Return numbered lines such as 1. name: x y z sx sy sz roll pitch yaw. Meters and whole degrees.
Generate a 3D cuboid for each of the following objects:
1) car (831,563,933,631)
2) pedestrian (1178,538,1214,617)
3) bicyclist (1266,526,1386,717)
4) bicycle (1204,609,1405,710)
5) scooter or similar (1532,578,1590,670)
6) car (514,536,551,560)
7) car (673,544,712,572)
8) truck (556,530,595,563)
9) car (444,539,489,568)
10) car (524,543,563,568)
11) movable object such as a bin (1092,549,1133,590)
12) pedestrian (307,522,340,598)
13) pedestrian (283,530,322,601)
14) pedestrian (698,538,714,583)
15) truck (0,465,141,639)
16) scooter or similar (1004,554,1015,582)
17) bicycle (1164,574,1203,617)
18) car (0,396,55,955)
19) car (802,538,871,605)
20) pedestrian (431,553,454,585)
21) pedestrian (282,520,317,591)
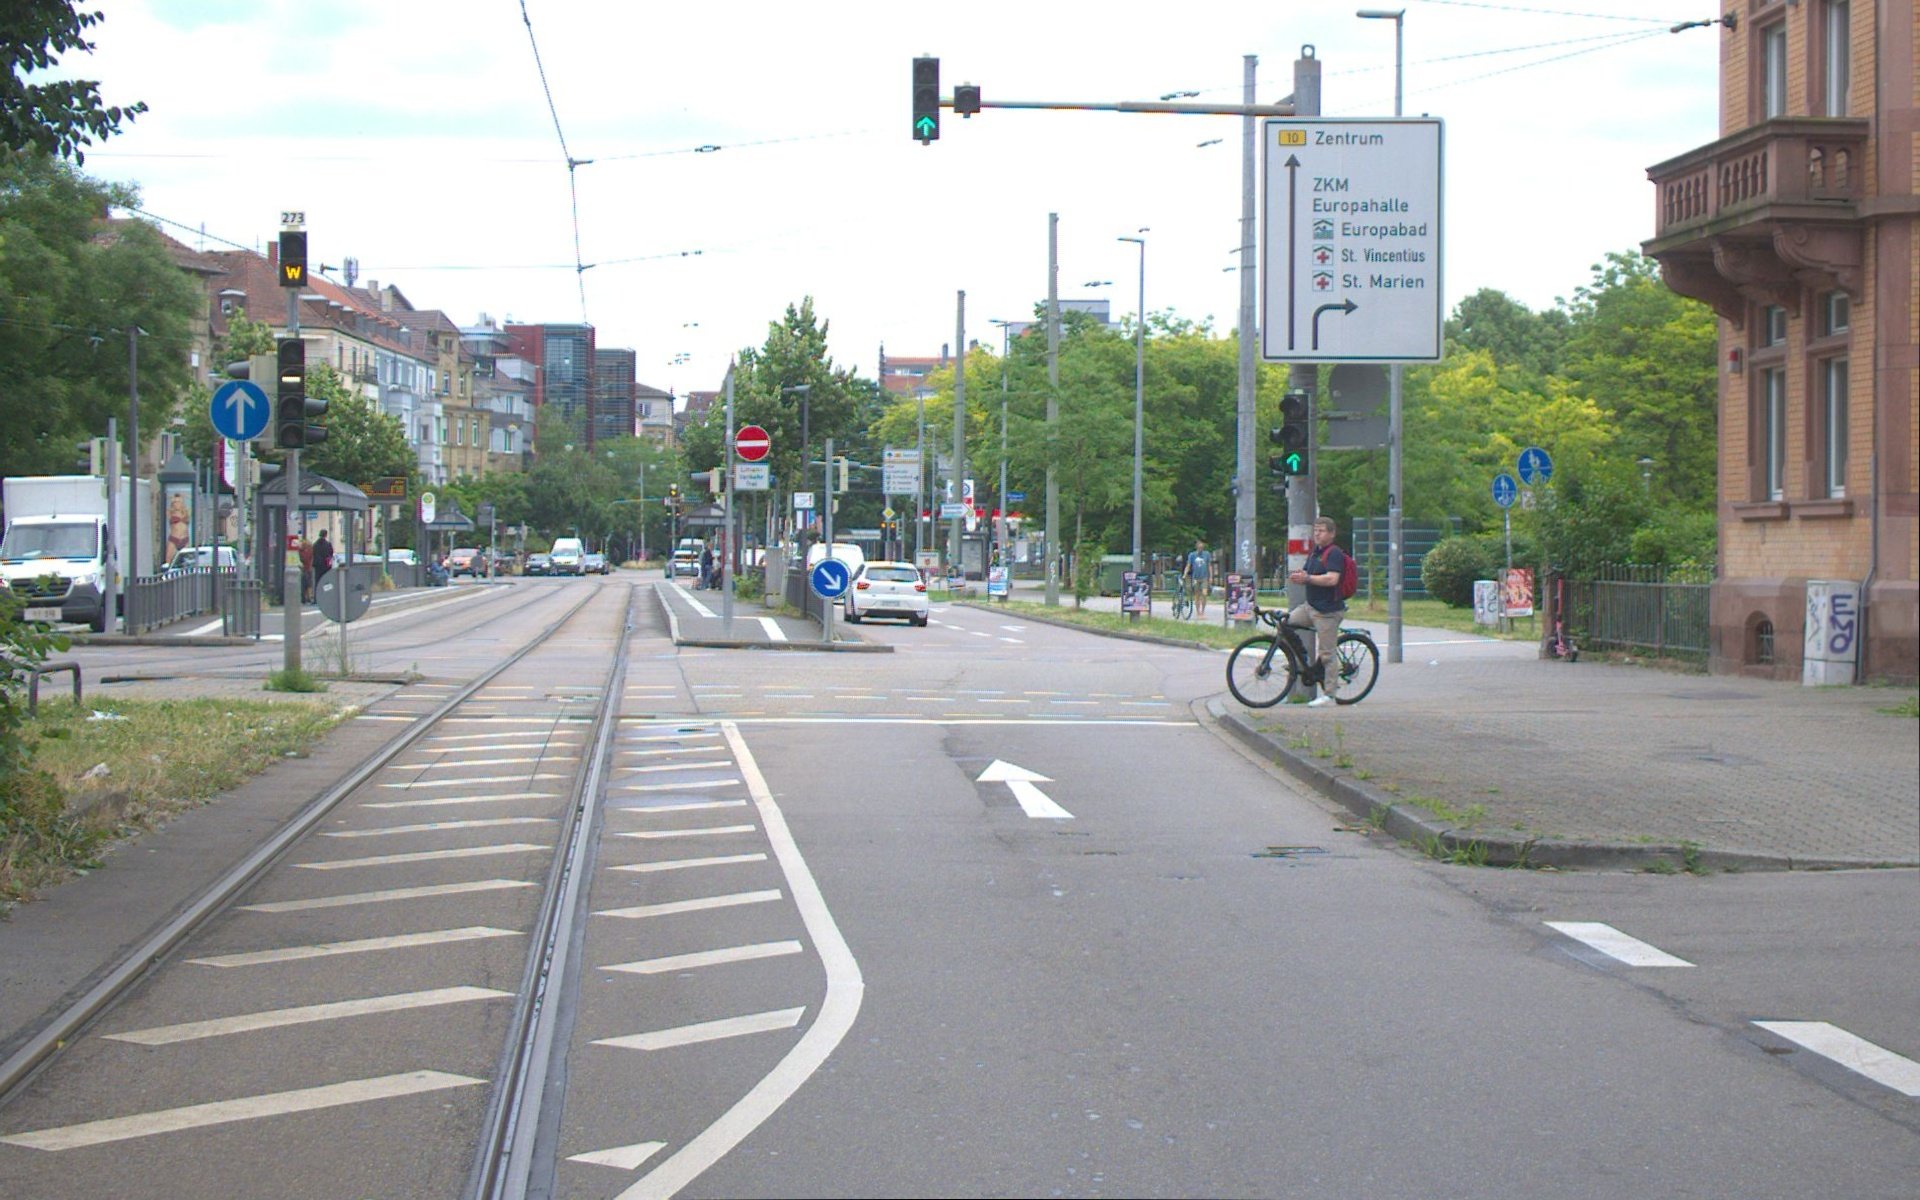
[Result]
1. car: -1.797 -0.092 78.139 1.782 1.467 4.011 1 1 -9
2. pedestrian: 5.599 -0.532 81.496 0.739 1.863 0.682 0 1 -5
3. bicyclist: 3.480 0.194 32.699 0.680 1.789 0.891 0 1 -36
4. bicycle: 3.306 0.562 32.930 1.862 0.921 0.796 0 1 -37
5. scooter or similar: 7.610 0.297 43.574 0.376 1.137 1.200 0 1 -8
6. car: -27.261 -3.282 219.410 1.770 1.488 3.887 0 0 1
7. car: -14.725 -2.292 189.352 1.770 1.488 3.887 0 0 0
8. truck: -24.592 -3.406 219.825 1.788 2.026 5.396 0 0 1
9. car: -26.331 -2.488 183.635 1.770 1.488 3.887 0 0 1
10. car: -25.169 -2.668 207.859 1.770 1.488 3.887 0 0 1
11. movable object such as a bin: 5.256 -1.054 118.781 1.282 1.385 1.159 0 0 -4
12. pedestrian: -14.414 -0.902 77.896 0.699 1.709 0.699 0 1 -13
13. pedestrian: -15.055 -0.786 78.717 0.678 1.618 0.633 0 1 12
14. pedestrian: -8.809 -1.366 119.075 0.532 1.552 0.571 0 1 -1
15. truck: -17.208 -0.902 66.087 2.184 3.146 7.333 0 0 -8
16. scooter or similar: 2.085 -1.351 144.834 0.376 1.137 1.199 0 1 6
17. bicycle: 5.284 -0.106 81.487 0.654 0.999 1.779 0 1 -5
18. car: -5.760 0.243 12.785 4.761 1.967 1.956 1 1 33
19. car: -3.752 -0.883 103.906 1.782 1.956 4.383 1 1 -6
20. pedestrian: -20.271 -1.228 134.715 0.864 1.262 0.694 0 1 -7
21. pedestrian: -15.675 -1.058 81.628 0.768 1.654 1.025 0 1 -8
